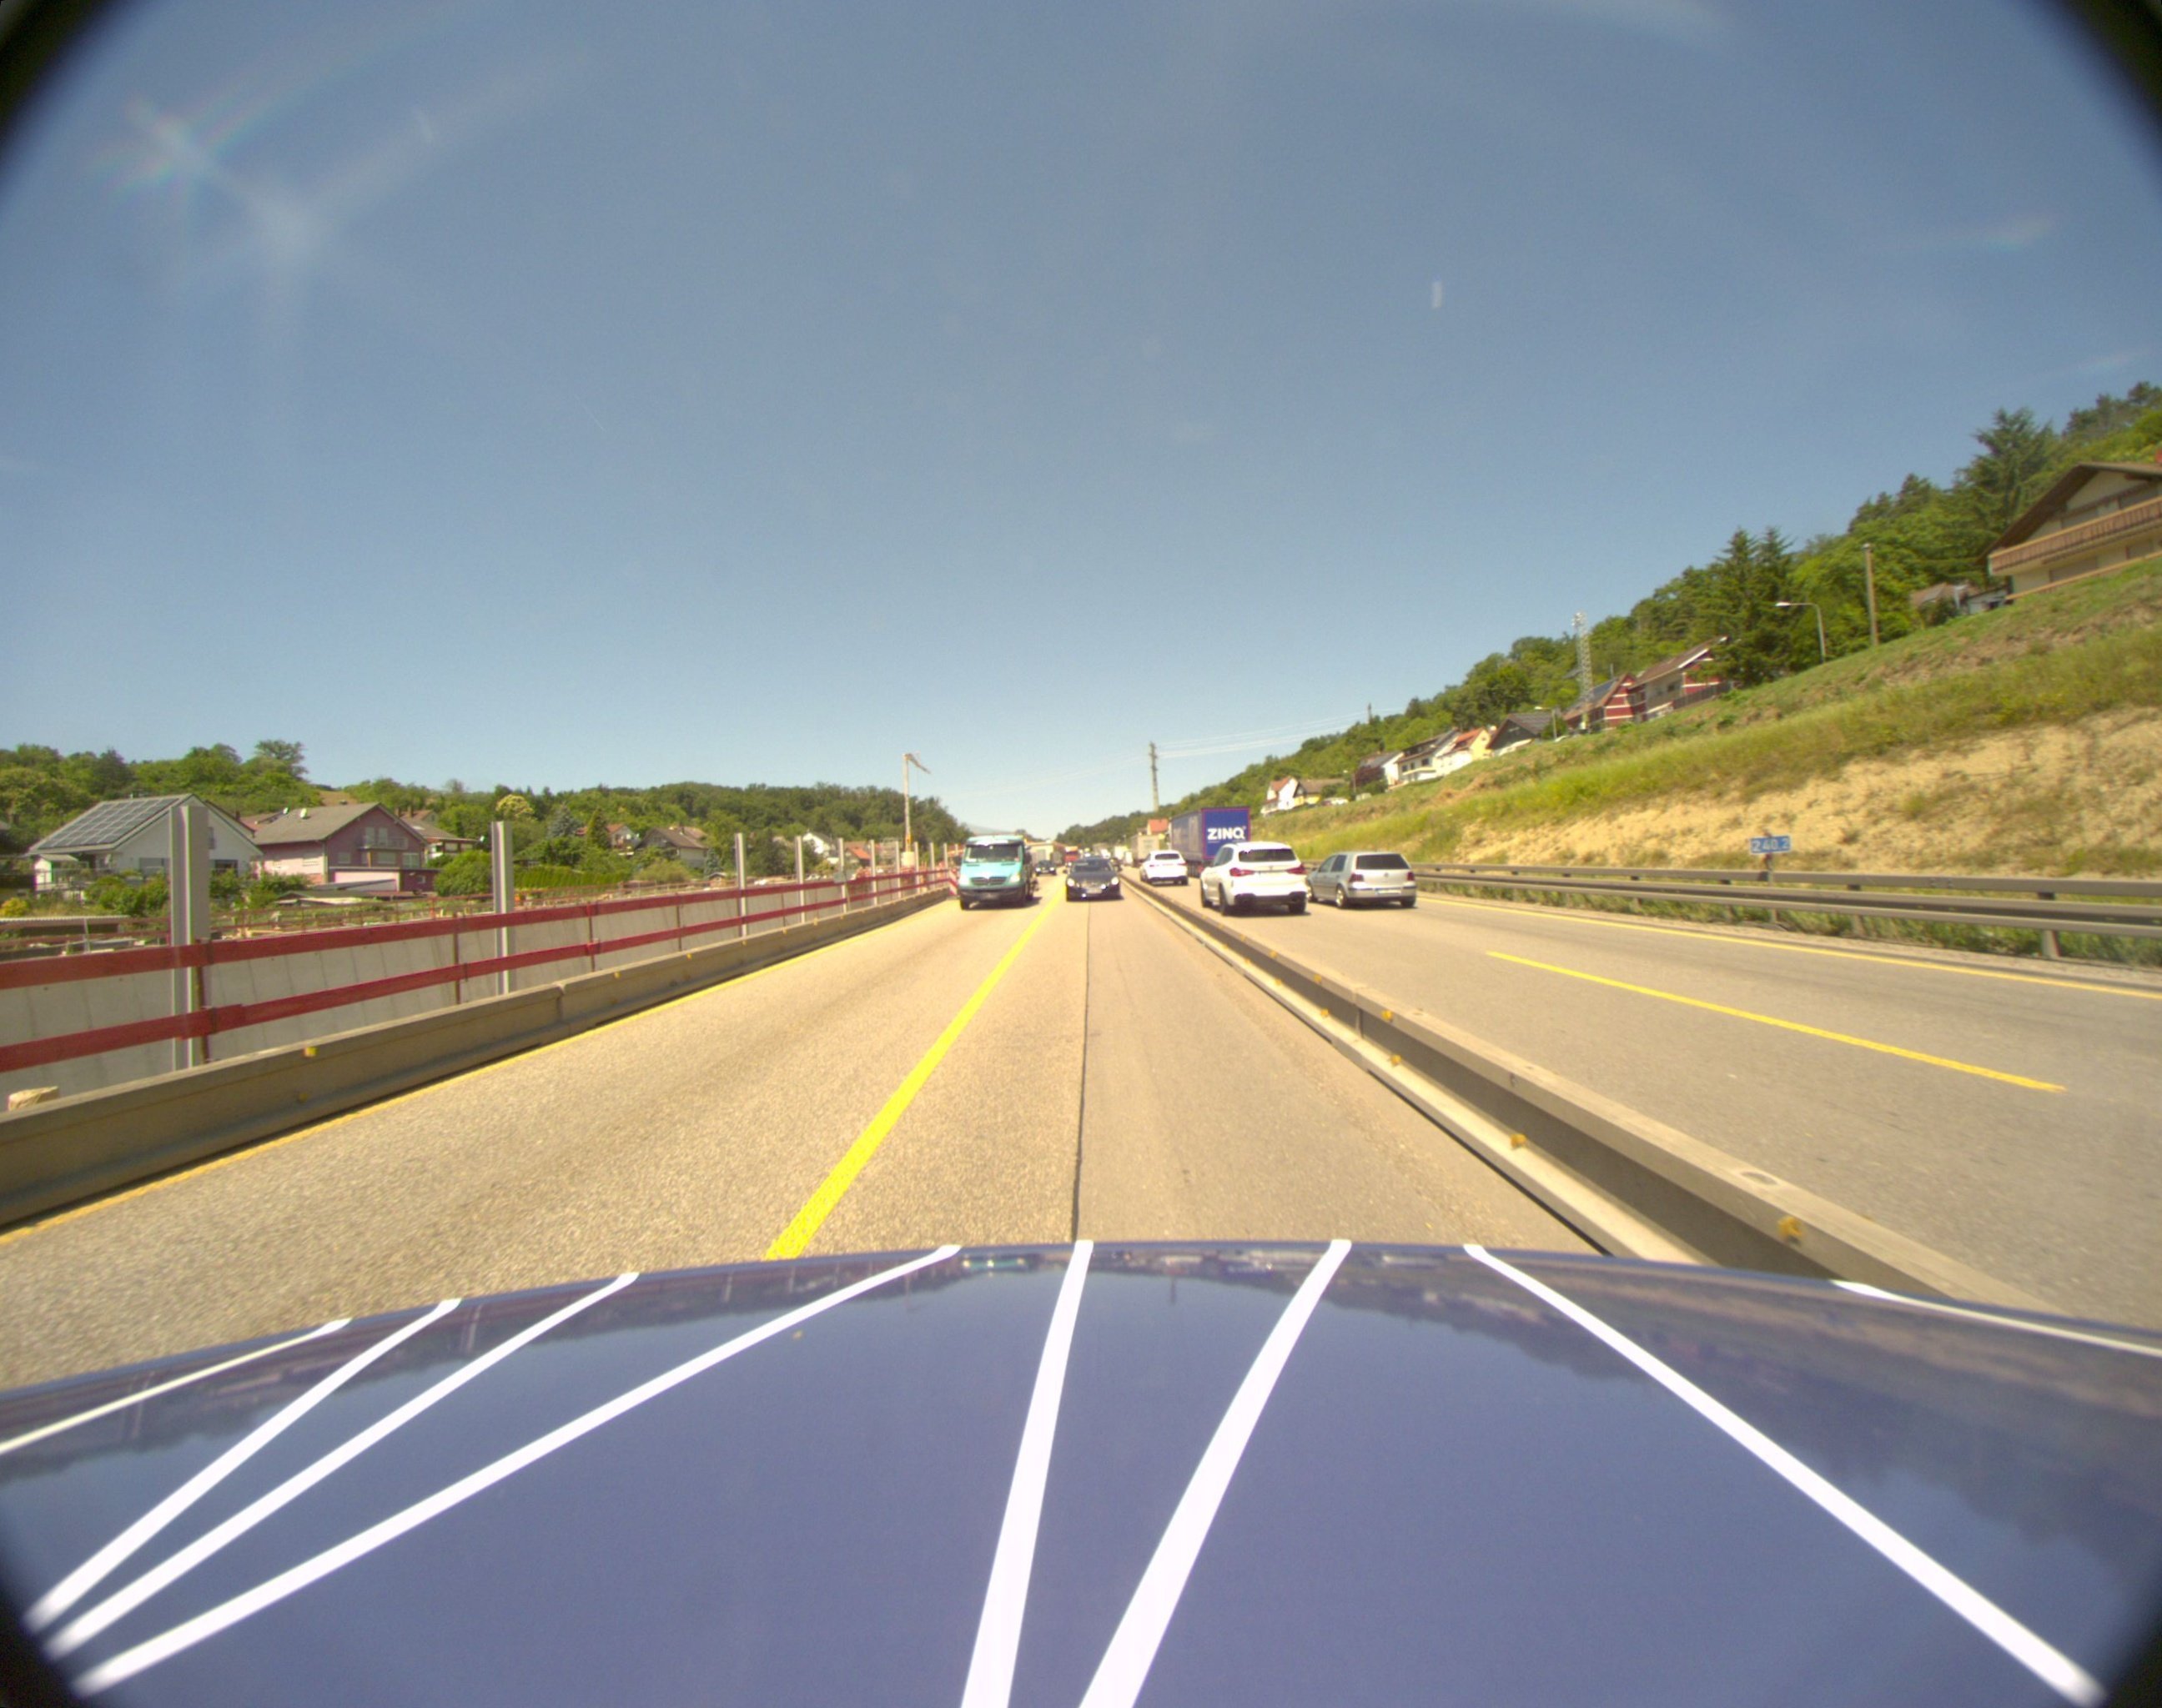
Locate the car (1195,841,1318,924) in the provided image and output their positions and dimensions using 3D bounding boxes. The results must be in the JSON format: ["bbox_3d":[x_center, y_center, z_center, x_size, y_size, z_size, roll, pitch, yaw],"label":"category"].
[{"bbox_3d":[4.115,0.602,18.609,1.896,1.698,4.561,-2,0,0],"label":"car"}]

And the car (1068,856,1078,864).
[{"bbox_3d":[-1.509,1.173,139.007,1.679,1.346,3.486,-4,0,1],"label":"car"}]

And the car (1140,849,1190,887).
[{"bbox_3d":[3.899,0.623,35.888,1.817,1.628,4.361,-2,0,0],"label":"car"}]

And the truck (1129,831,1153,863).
[{"bbox_3d":[8.321,-0.919,105.463,2.781,4.262,4.676,-2,0,0],"label":"truck"}]

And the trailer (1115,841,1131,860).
[{"bbox_3d":[9.343,-0.684,169.989,2.864,4.100,13.437,-2,0,0],"label":"trailer"}]

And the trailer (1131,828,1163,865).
[{"bbox_3d":[8.328,-0.898,97.674,2.817,4.261,14.034,-2,0,0],"label":"trailer"}]

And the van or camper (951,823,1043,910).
[{"bbox_3d":[-2.660,0.389,26.110,2.097,2.458,7.671,-2,0,1],"label":"van or camper"}]

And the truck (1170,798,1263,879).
[{"bbox_3d":[7.973,-0.847,47.155,3.251,4.135,13.977,-2,0,0],"label":"truck"}]

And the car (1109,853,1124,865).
[{"bbox_3d":[4.976,0.700,106.716,1.853,1.577,4.174,-2,0,0],"label":"car"}]

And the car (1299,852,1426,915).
[{"bbox_3d":[6.989,0.664,19.284,1.706,1.370,3.966,-2,0,0],"label":"car"}]

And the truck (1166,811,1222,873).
[{"bbox_3d":[8.011,-0.856,54.406,3.247,4.136,4.247,-2,1,0],"label":"truck"}]

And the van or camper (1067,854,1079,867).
[{"bbox_3d":[-1.630,1.255,158.001,2.321,2.513,4.528,-4,0,1],"label":"van or camper"}]

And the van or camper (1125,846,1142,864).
[{"bbox_3d":[8.649,0.138,125.988,2.340,2.761,7.517,-2,0,0],"label":"van or camper"}]

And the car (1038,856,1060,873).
[{"bbox_3d":[-2.806,0.927,67.226,1.611,1.324,3.496,-4,0,1],"label":"car"}]

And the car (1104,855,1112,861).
[{"bbox_3d":[6.482,0.927,184.143,1.772,1.355,4.411,-2,0,0],"label":"car"}]

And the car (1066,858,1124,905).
[{"bbox_3d":[0.469,0.861,25.636,1.746,1.420,4.000,-2,0,1],"label":"car"}]
